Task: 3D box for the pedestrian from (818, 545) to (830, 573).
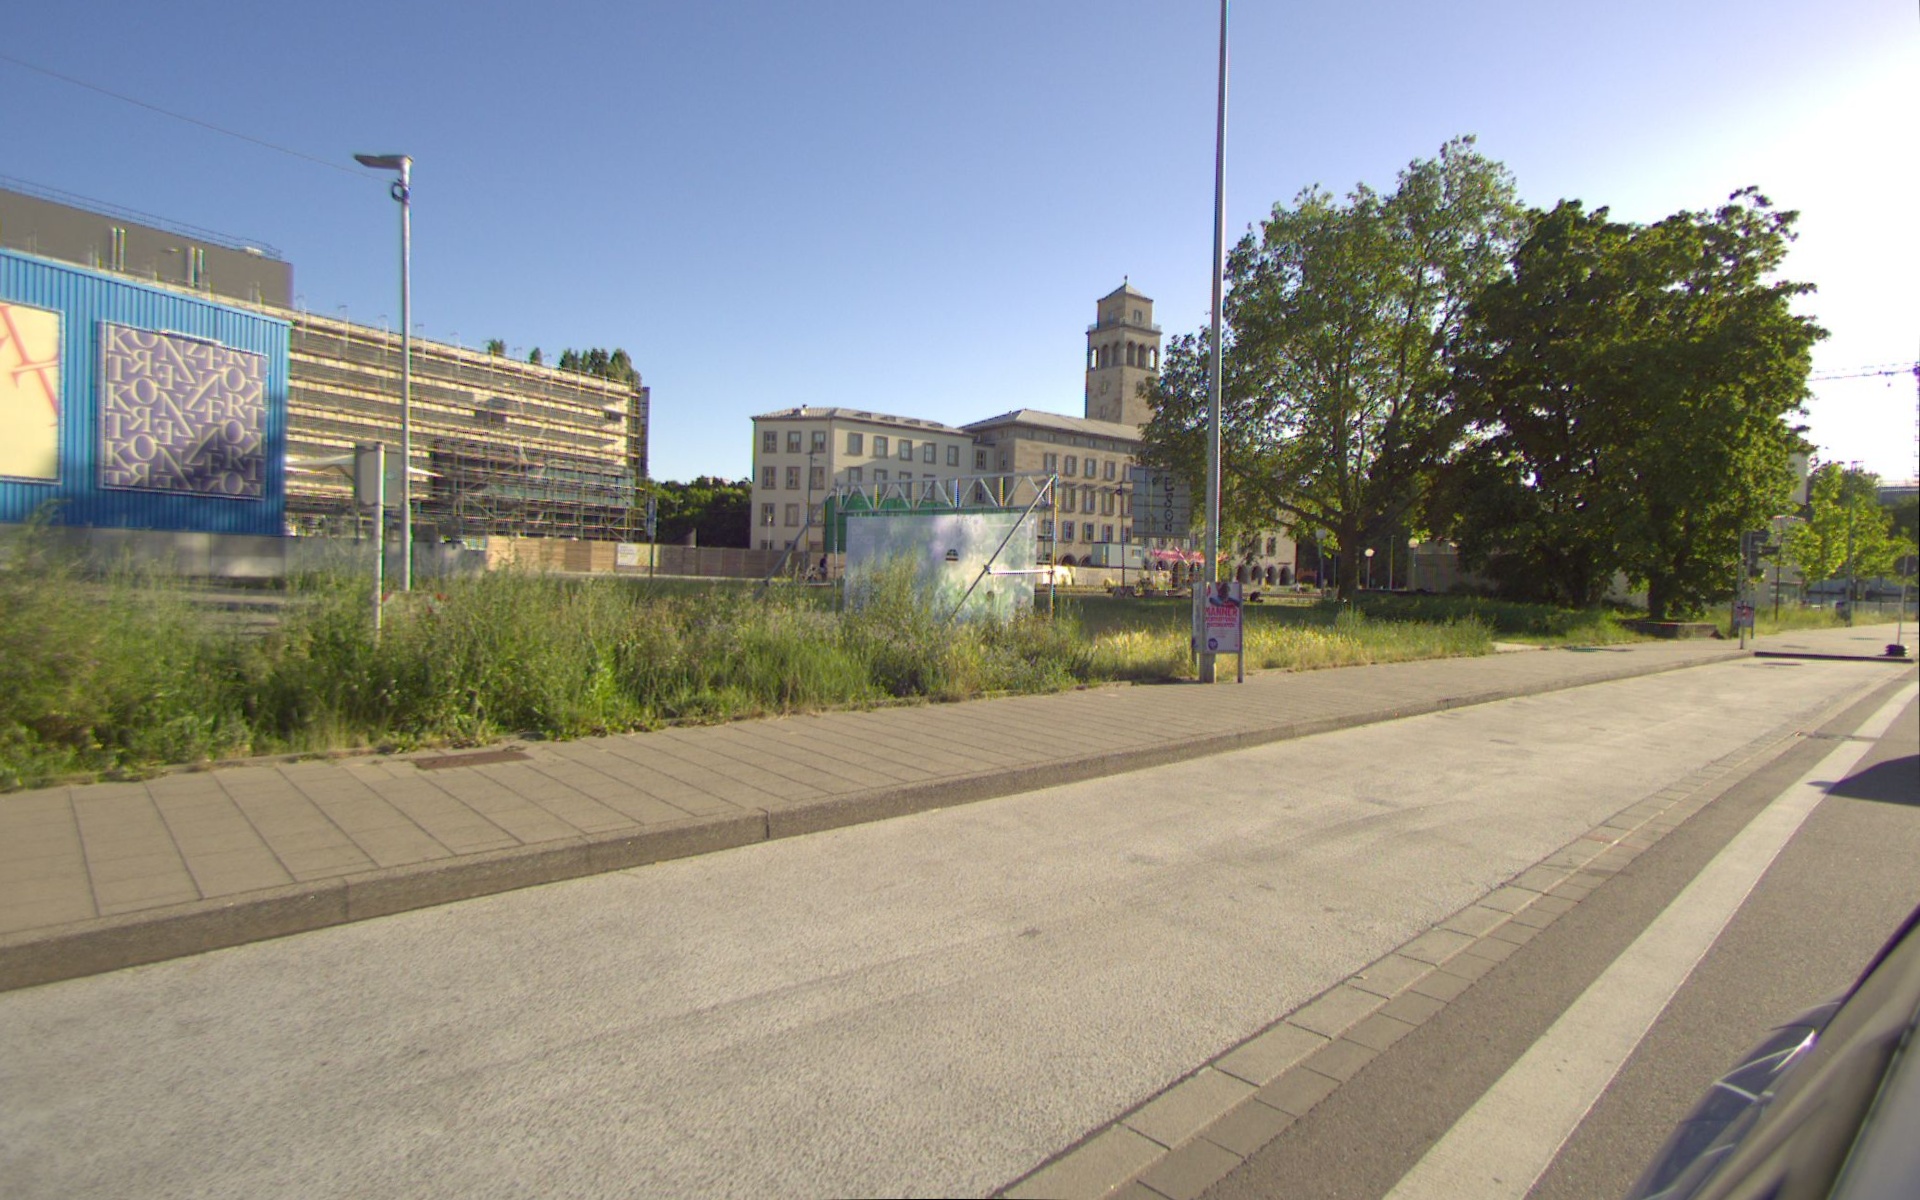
[{"bbox_3d":[-6.473,-1.936,48.305,0.432,1.312,0.574,-1,0,-19],"label":"pedestrian"}]
